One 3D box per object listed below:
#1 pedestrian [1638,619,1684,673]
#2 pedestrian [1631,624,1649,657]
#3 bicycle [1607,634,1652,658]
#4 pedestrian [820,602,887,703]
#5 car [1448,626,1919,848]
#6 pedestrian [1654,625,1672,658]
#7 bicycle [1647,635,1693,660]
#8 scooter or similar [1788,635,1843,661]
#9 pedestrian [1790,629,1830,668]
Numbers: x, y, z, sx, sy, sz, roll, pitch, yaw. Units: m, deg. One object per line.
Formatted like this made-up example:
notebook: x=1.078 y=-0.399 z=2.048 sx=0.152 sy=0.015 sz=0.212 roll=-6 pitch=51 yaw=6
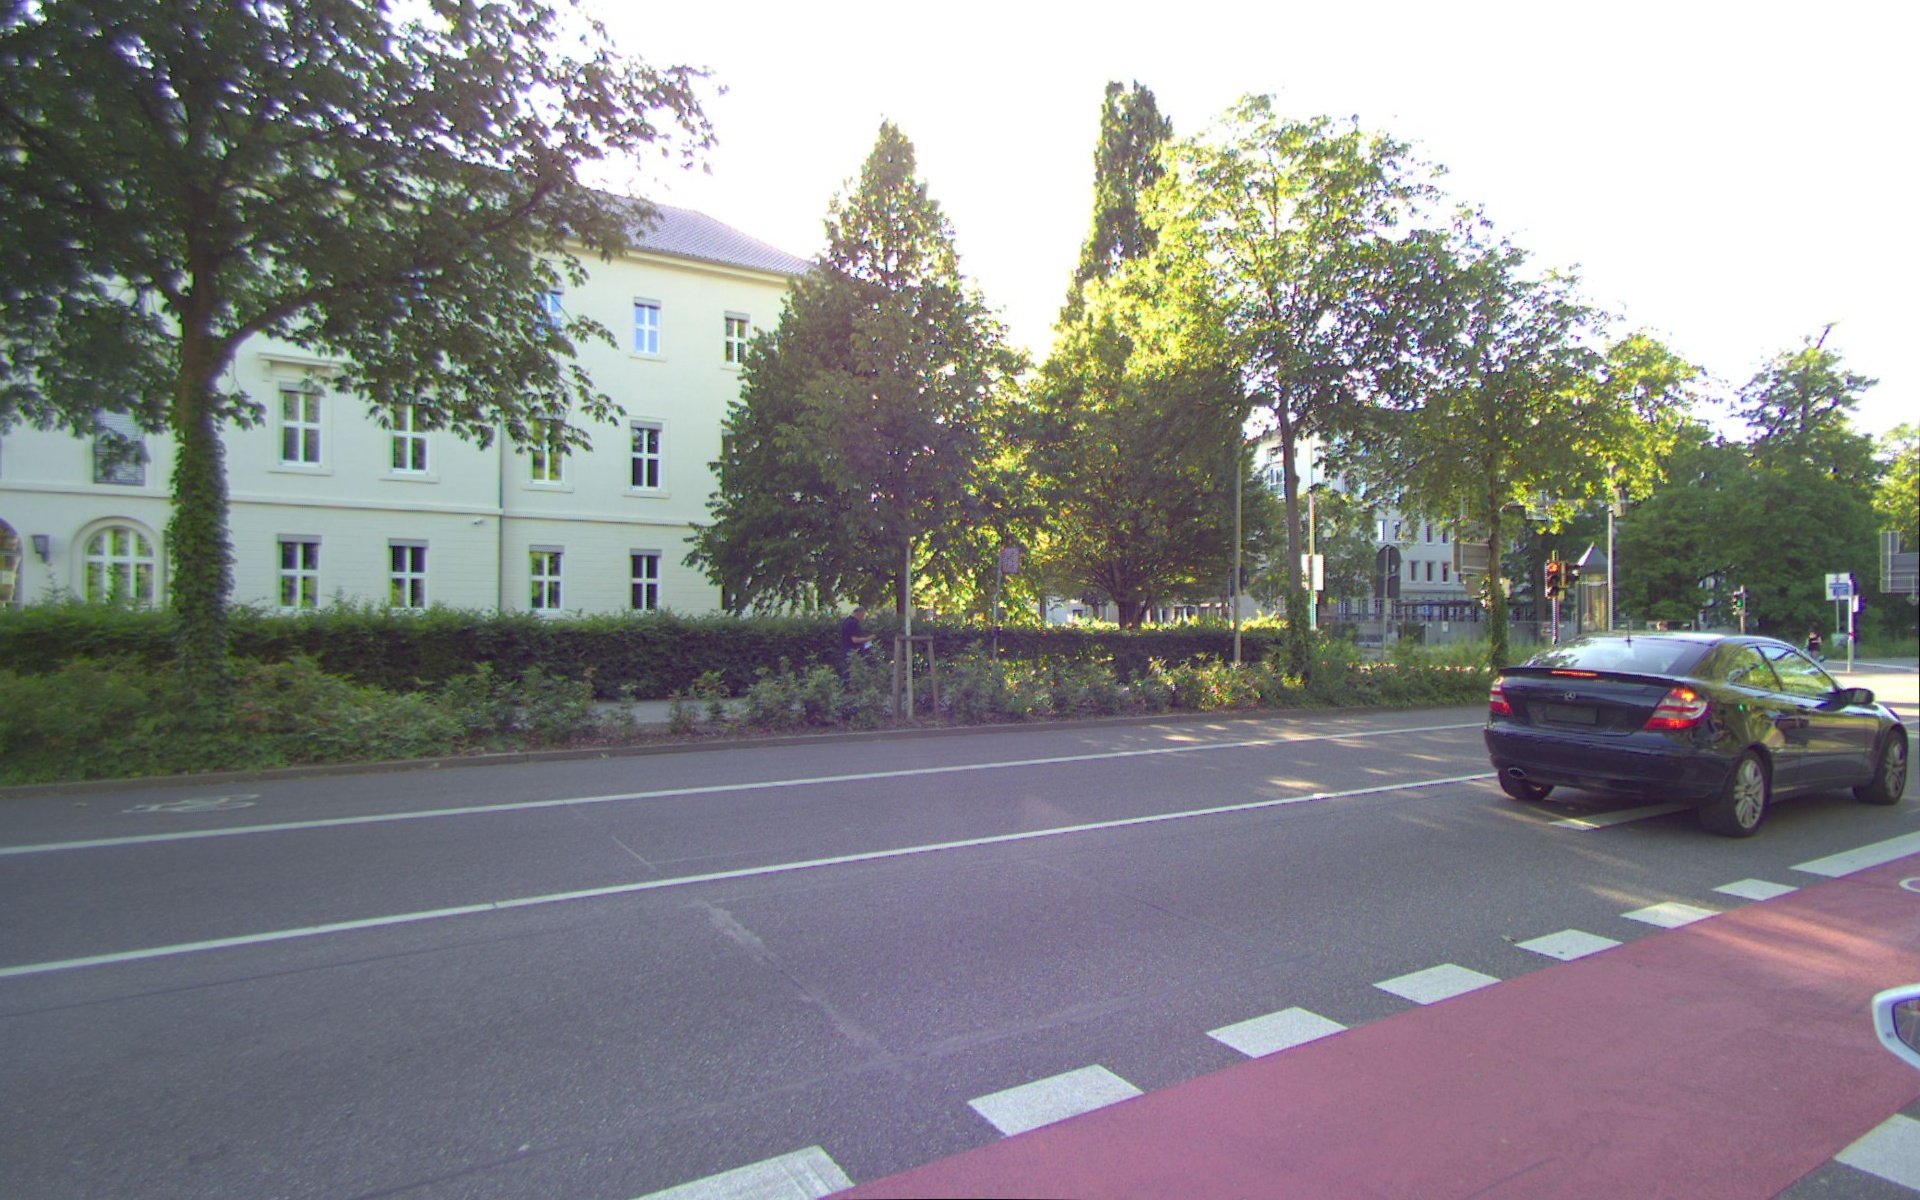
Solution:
pedestrian: x=27.053 y=1.778 z=38.770 sx=1.175 sy=2.040 sz=0.992 roll=1 pitch=0 yaw=-25
pedestrian: x=34.406 y=2.050 z=50.837 sx=0.442 sy=1.664 sz=0.624 roll=1 pitch=0 yaw=-39
bicycle: x=34.376 y=2.348 z=51.600 sx=0.439 sy=1.163 sz=1.849 roll=1 pitch=-1 yaw=-36
pedestrian: x=-1.896 y=0.923 z=17.876 sx=0.956 sy=1.743 sz=0.831 roll=1 pitch=-2 yaw=-29
car: x=6.108 y=0.939 z=8.291 sx=4.214 sy=1.423 sz=1.697 roll=1 pitch=-2 yaw=-30
pedestrian: x=34.850 y=2.037 z=49.817 sx=0.442 sy=1.601 sz=0.624 roll=1 pitch=0 yaw=-39
bicycle: x=35.050 y=2.326 z=49.596 sx=0.288 sy=1.163 sz=1.849 roll=1 pitch=-1 yaw=-36
scooter or similar: x=39.558 y=2.229 z=46.477 sx=1.882 sy=1.139 sz=0.713 roll=1 pitch=0 yaw=3
pedestrian: x=36.011 y=2.034 z=42.547 sx=0.992 sy=1.624 sz=1.080 roll=1 pitch=-2 yaw=-36
